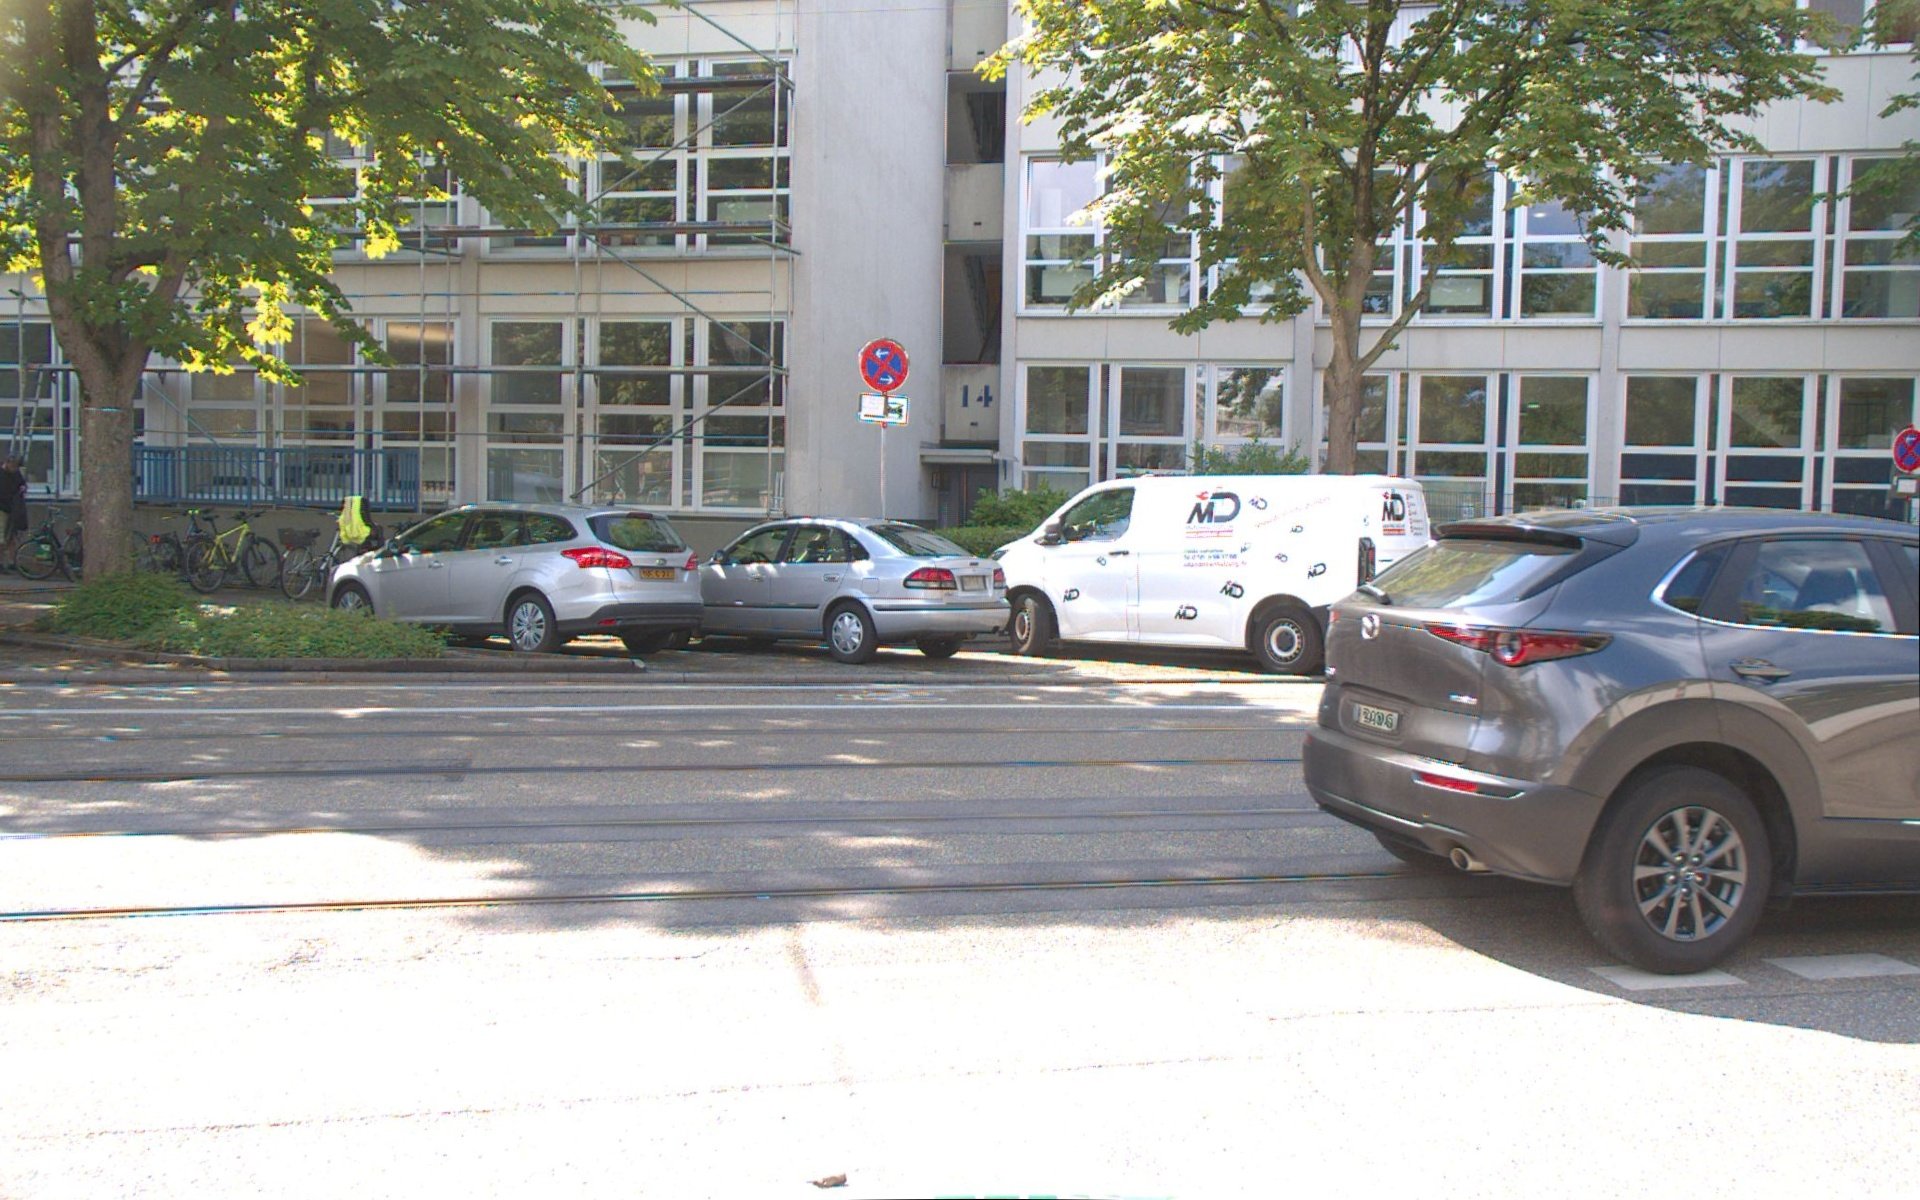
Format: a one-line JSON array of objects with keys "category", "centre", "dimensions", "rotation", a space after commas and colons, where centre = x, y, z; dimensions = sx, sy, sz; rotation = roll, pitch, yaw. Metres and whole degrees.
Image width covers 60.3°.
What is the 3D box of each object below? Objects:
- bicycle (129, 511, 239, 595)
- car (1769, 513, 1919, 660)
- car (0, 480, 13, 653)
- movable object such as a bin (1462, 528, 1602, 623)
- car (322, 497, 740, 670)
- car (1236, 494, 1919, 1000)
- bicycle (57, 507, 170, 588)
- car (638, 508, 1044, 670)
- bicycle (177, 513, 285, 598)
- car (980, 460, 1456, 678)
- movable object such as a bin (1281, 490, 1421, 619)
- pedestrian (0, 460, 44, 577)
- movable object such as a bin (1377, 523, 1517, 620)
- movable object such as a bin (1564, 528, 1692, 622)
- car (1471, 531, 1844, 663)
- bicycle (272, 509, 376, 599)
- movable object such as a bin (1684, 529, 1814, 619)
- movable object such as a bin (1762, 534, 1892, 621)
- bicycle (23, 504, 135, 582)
[{"category": "bicycle", "centre": [-10.844, -0.679, 23.170], "dimensions": [0.529, 1.133, 1.582], "rotation": [-1, 3, 11]}, {"category": "car", "centre": [11.907, -0.159, 19.975], "dimensions": [3.639, 1.722, 1.755], "rotation": [1, 1, 34]}, {"category": "car", "centre": [-10.599, -0.360, 15.147], "dimensions": [3.803, 1.549, 1.739], "rotation": [3, 4, 31]}, {"category": "movable object such as a bin", "centre": [8.736, -0.363, 25.325], "dimensions": [1.509, 1.387, 1.385], "rotation": [1, 0, -17]}, {"category": "car", "centre": [-4.421, -0.246, 16.892], "dimensions": [4.104, 1.526, 1.818], "rotation": [3, 3, 32]}, {"category": "car", "centre": [3.427, 0.400, 6.469], "dimensions": [4.263, 1.538, 1.790], "rotation": [0, 4, -14]}, {"category": "bicycle", "centre": [-12.040, -0.760, 23.573], "dimensions": [0.529, 1.111, 1.582], "rotation": [-1, 3, 11]}, {"category": "car", "centre": [-1.317, -0.195, 17.541], "dimensions": [4.087, 1.474, 1.816], "rotation": [3, 3, 35]}, {"category": "bicycle", "centre": [-10.130, -0.636, 23.042], "dimensions": [0.529, 1.140, 1.582], "rotation": [-1, 3, 11]}, {"category": "car", "centre": [2.657, -0.419, 17.567], "dimensions": [4.593, 2.031, 1.962], "rotation": [3, 3, 36]}, {"category": "movable object such as a bin", "centre": [5.751, -0.647, 24.390], "dimensions": [1.509, 1.813, 1.385], "rotation": [1, 0, -17]}, {"category": "pedestrian", "centre": [-13.707, -1.191, 23.973], "dimensions": [0.650, 1.652, 0.638], "rotation": [1, 3, -21]}, {"category": "movable object such as a bin", "centre": [7.282, -0.411, 24.800], "dimensions": [1.509, 1.387, 1.385], "rotation": [1, 0, -17]}, {"category": "movable object such as a bin", "centre": [10.343, -0.372, 25.656], "dimensions": [1.414, 1.404, 1.191], "rotation": [1, 0, -16]}, {"category": "car", "centre": [8.221, -0.076, 19.629], "dimensions": [3.909, 1.442, 1.721], "rotation": [1, 1, 26]}, {"category": "bicycle", "centre": [-8.677, -0.643, 22.625], "dimensions": [0.529, 1.182, 1.582], "rotation": [-1, 3, 11]}, {"category": "movable object such as a bin", "centre": [12.289, -0.391, 25.781], "dimensions": [1.413, 1.350, 1.163], "rotation": [1, 0, -14]}, {"category": "movable object such as a bin", "centre": [13.686, -0.346, 26.136], "dimensions": [1.412, 1.306, 1.167], "rotation": [1, 0, -14]}, {"category": "bicycle", "centre": [-12.818, -0.842, 24.109], "dimensions": [0.529, 1.099, 1.582], "rotation": [-1, 3, 11]}]
